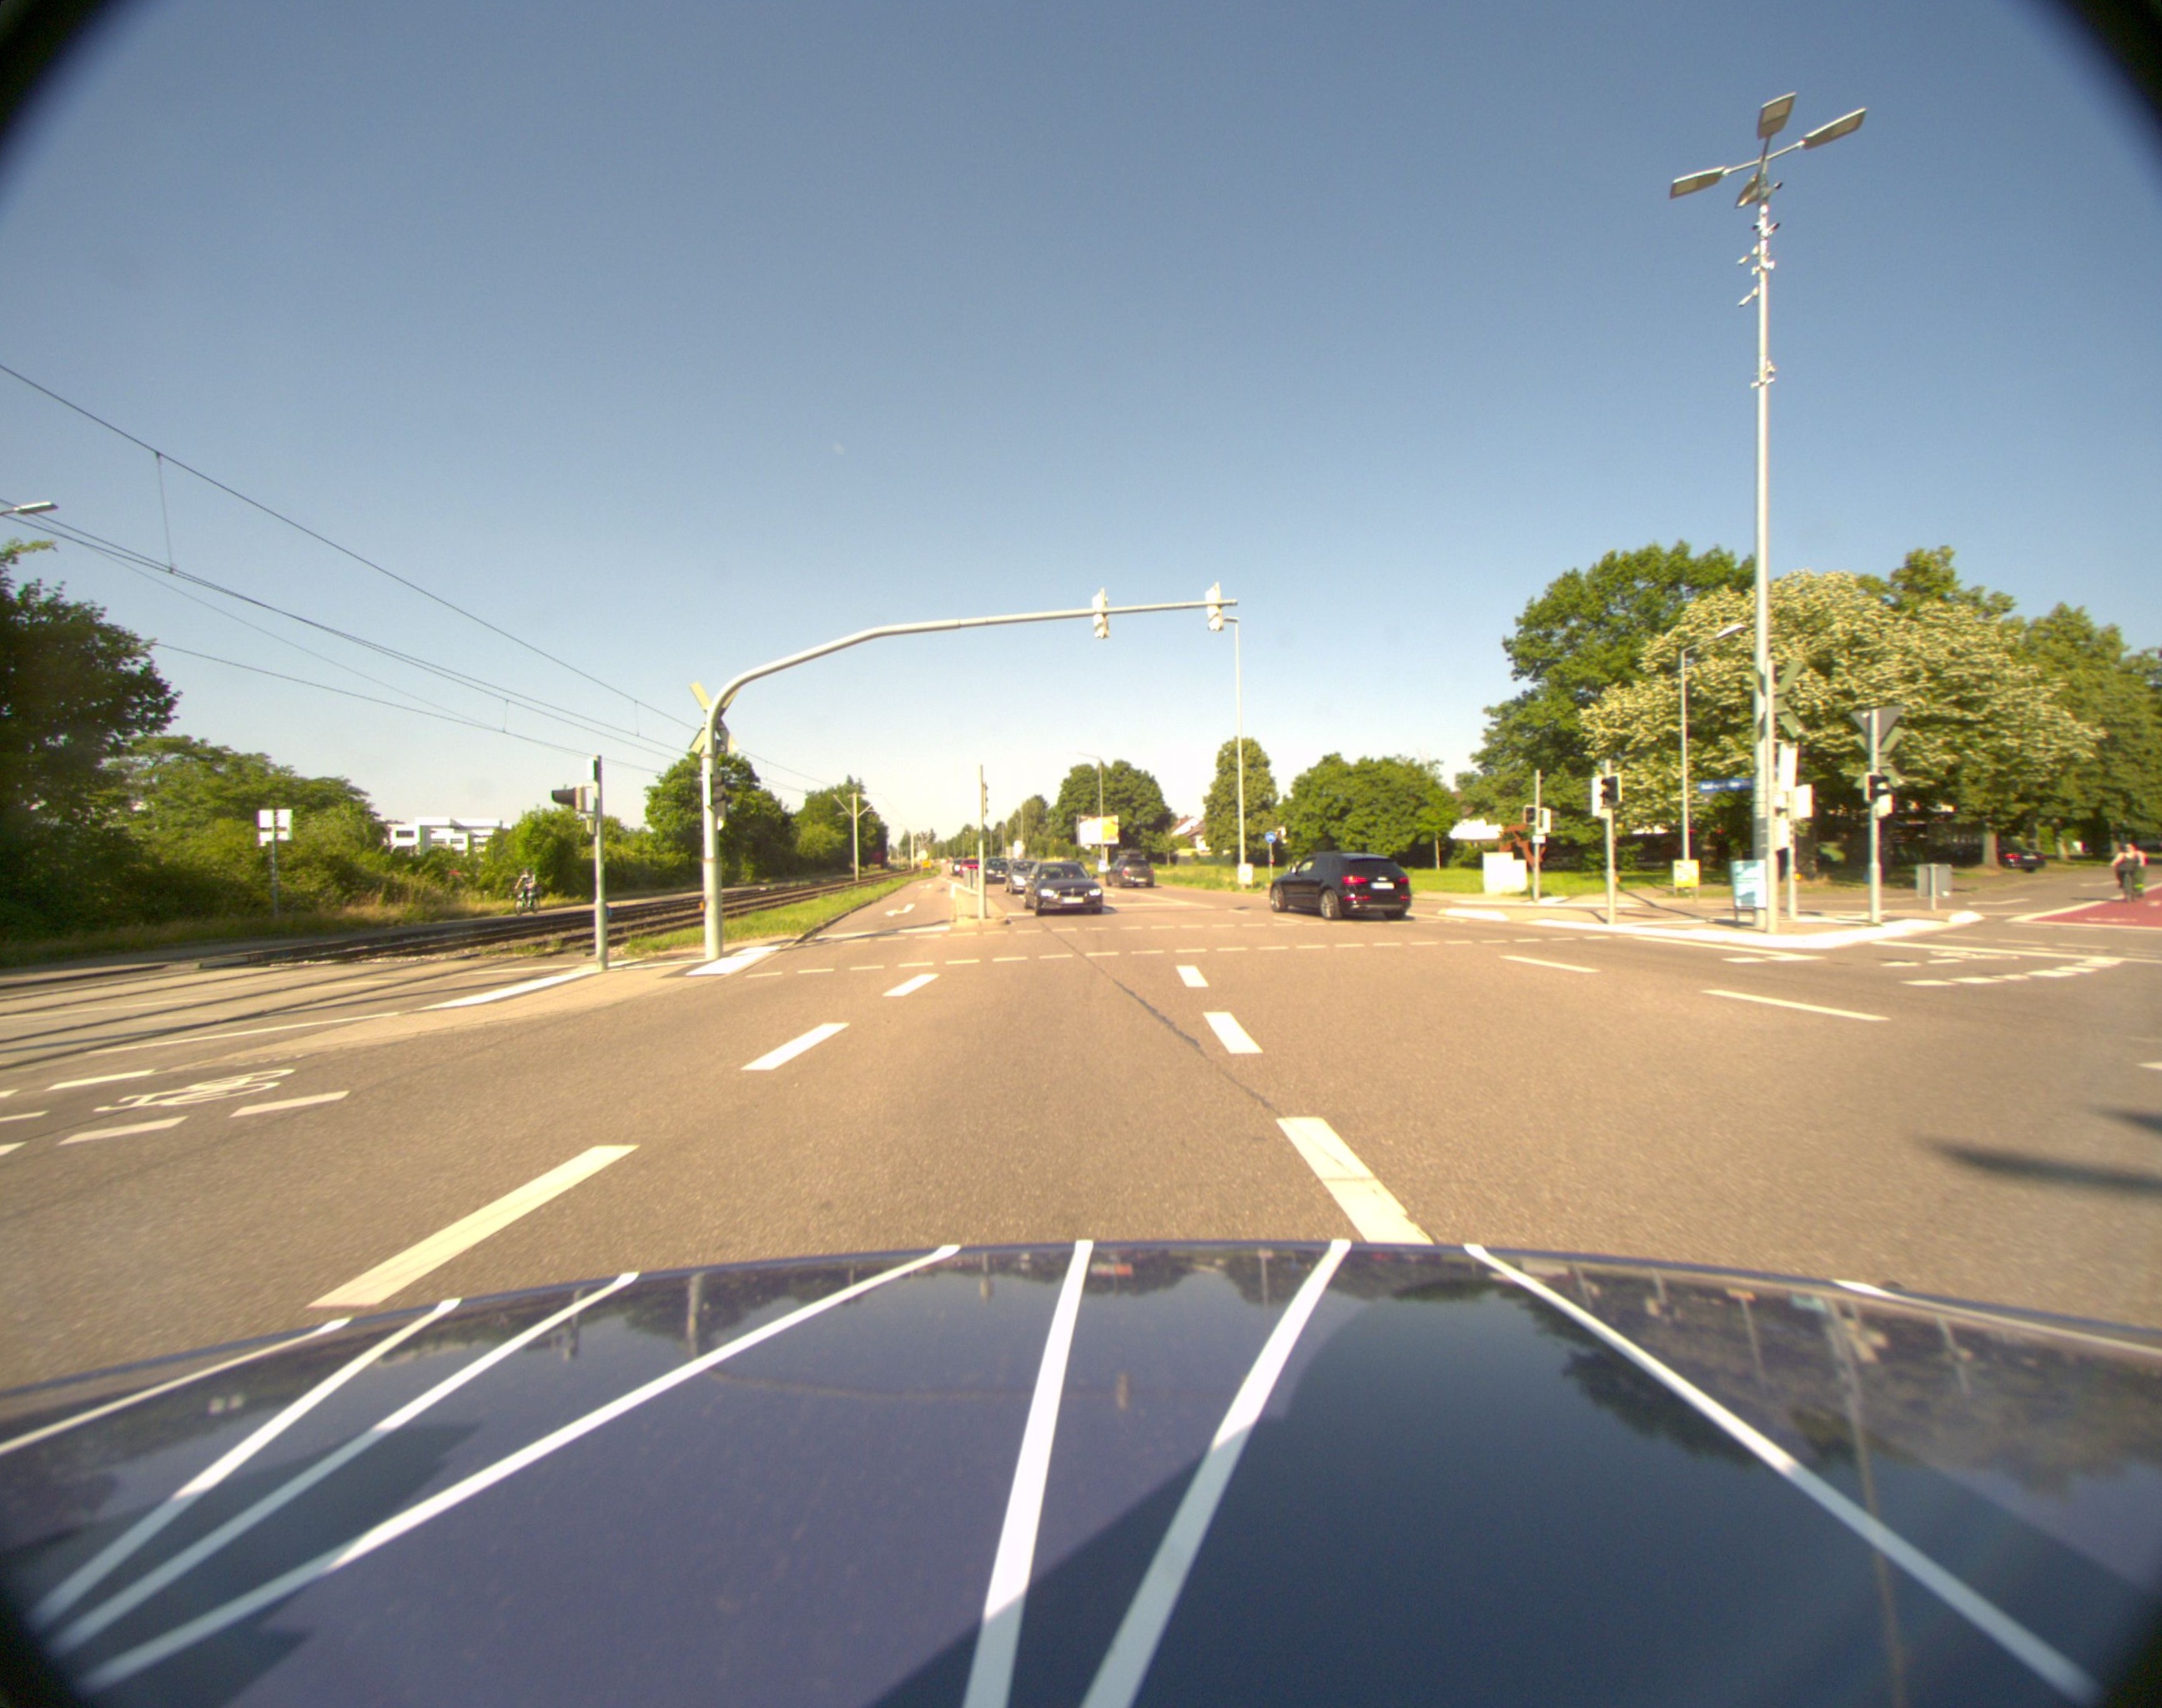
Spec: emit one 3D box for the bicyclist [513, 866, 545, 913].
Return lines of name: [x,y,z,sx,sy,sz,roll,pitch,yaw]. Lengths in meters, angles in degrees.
bicyclist: [-21.838,1.404,30.071,0.708,1.797,0.717,-1,1,-9]

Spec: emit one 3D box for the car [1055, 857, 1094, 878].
car: [-0.522,0.941,54.363,1.895,1.465,4.095,-1,0,-13]

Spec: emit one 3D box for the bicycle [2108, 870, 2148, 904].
bicycle: [30.695,0.941,22.275,1.812,0.898,0.652,-2,1,-35]

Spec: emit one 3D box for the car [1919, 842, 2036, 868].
car: [48.738,0.036,41.477,1.523,1.313,4.774,-1,0,12]

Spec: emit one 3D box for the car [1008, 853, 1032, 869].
car: [-6.297,0.729,78.030,1.752,1.552,3.995,0,0,-15]

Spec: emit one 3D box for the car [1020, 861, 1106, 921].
car: [-0.622,0.964,21.601,1.822,1.416,4.457,-1,0,-9]

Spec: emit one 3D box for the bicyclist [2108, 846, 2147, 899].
bicyclist: [30.690,0.543,22.285,0.628,1.514,0.617,-2,0,-36]

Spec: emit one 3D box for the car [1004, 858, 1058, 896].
car: [-2.293,0.958,33.788,1.822,1.481,4.606,-1,0,-11]

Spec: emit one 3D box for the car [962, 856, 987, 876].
car: [-8.969,0.980,63.804,1.808,1.498,4.193,-1,0,-11]

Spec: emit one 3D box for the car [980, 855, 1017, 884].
car: [-5.200,0.904,47.367,1.822,1.641,4.606,-2,1,-11]

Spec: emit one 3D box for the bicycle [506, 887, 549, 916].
bicycle: [-21.811,1.855,29.976,0.547,1.041,1.872,-1,0,-10]

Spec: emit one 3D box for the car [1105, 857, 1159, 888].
car: [2.604,0.911,39.844,1.795,1.511,3.995,-1,0,-12]

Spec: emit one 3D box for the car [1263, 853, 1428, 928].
car: [6.437,0.804,19.104,1.996,1.649,4.380,-1,0,-10]
